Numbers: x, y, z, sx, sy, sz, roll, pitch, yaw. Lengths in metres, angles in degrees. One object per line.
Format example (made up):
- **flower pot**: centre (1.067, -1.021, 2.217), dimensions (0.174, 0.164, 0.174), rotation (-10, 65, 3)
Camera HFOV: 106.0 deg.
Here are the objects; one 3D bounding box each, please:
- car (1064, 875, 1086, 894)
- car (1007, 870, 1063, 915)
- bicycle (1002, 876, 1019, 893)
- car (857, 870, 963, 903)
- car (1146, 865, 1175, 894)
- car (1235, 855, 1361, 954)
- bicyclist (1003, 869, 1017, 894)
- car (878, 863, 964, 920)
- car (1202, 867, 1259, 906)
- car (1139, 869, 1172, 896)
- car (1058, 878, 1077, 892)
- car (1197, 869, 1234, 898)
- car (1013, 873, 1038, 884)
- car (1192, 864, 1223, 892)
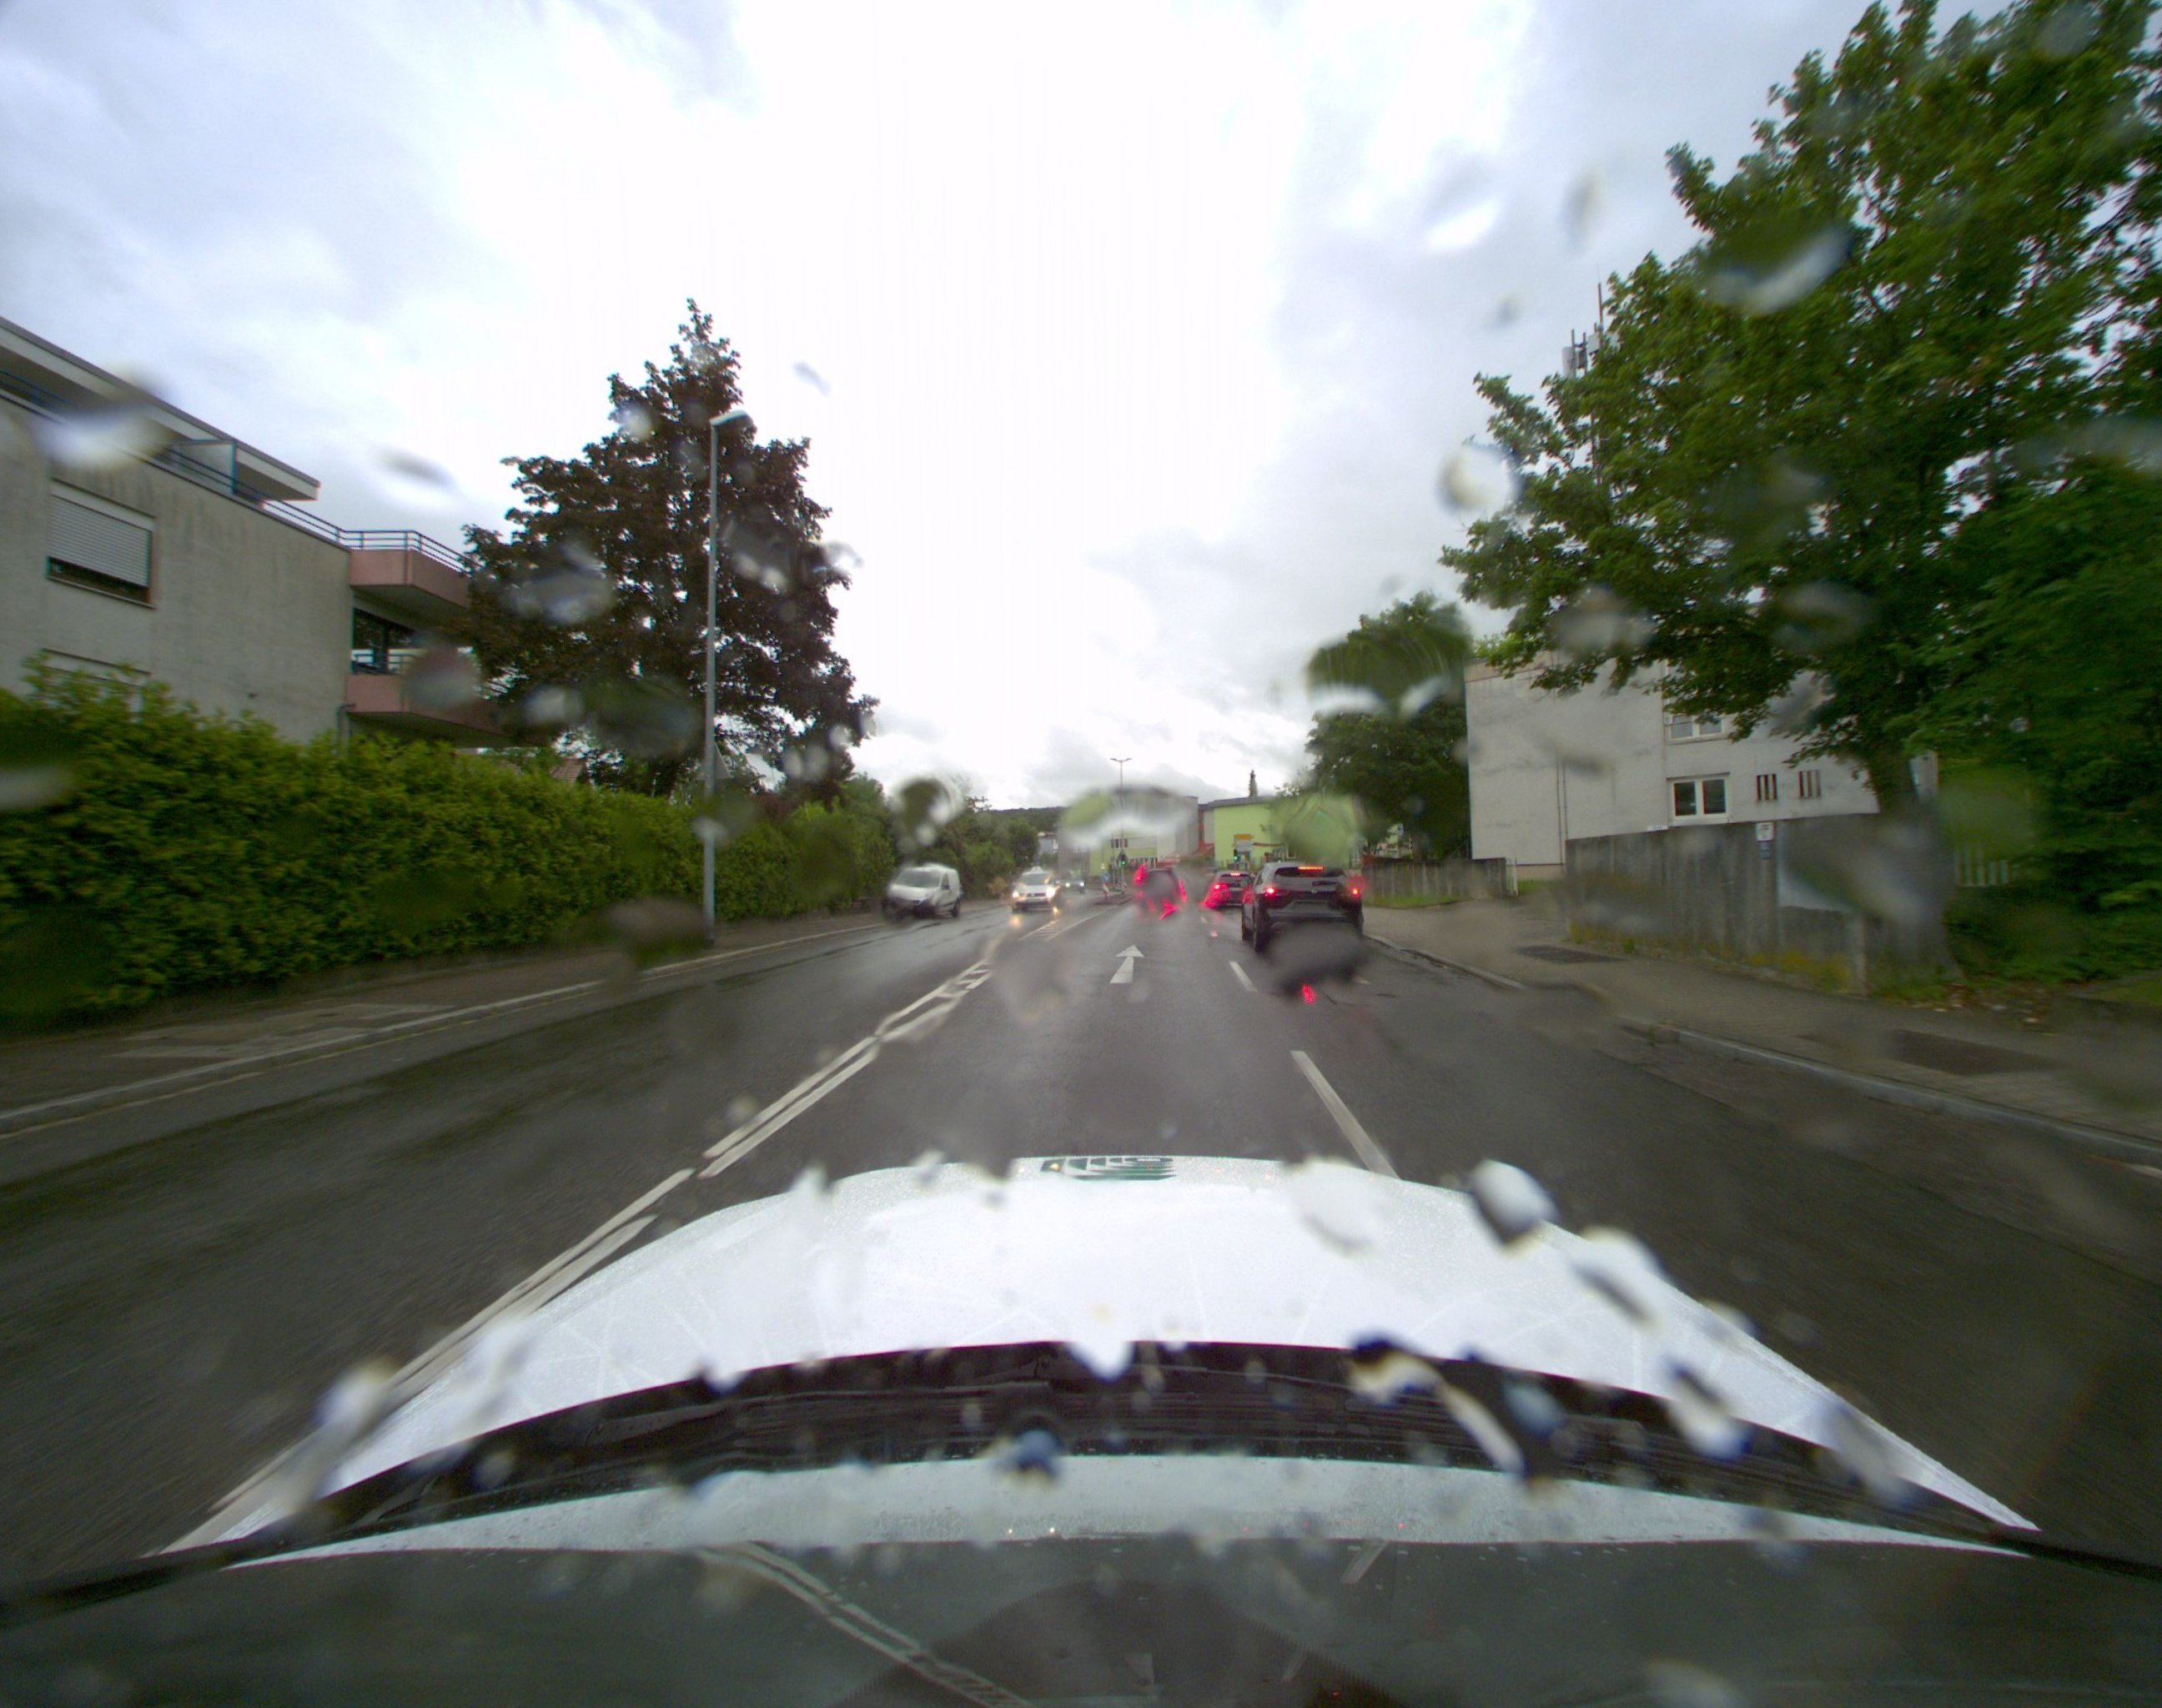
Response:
- **car**: centre (-0.595, 3.043, 82.410), dimensions (2.034, 1.716, 4.480), rotation (-2, -1, 0)
- **car**: centre (-1.749, 1.466, 32.327), dimensions (1.627, 1.580, 4.061), rotation (-4, -1, 4)
- **bicycle**: centre (-4.581, 1.985, 53.101), dimensions (0.743, 1.086, 1.991), rotation (0, -2, 5)
- **car**: centre (-7.814, 1.489, 37.481), dimensions (4.469, 1.362, 1.805), rotation (1, 0, -1)
- **car**: centre (5.293, 1.681, 54.582), dimensions (1.710, 1.844, 4.090), rotation (0, -1, 3)
- **car**: centre (3.971, 0.829, 15.573), dimensions (1.780, 1.603, 4.262), rotation (0, 0, 7)
- **bicyclist**: centre (-4.597, 1.786, 53.006), dimensions (0.761, 1.612, 0.869), rotation (0, -2, 4)
- **car**: centre (-5.312, 1.206, 27.561), dimensions (1.692, 1.708, 3.985), rotation (2, -1, 6)
- **car**: centre (6.082, 1.296, 33.591), dimensions (1.896, 1.459, 4.785), rotation (-1, -2, 6)
- **car**: centre (4.220, 1.590, 46.510), dimensions (1.676, 1.506, 3.775), rotation (0, -1, 2)
- **car**: centre (-1.626, 3.651, 95.792), dimensions (1.990, 1.574, 3.992), rotation (0, -2, -5)
- **car**: centre (6.946, 1.504, 42.290), dimensions (1.697, 1.427, 4.517), rotation (-2, -2, 7)
- **car**: centre (-10.360, 4.538, 151.959), dimensions (4.397, 1.772, 1.992), rotation (-3, -2, -11)
- **car**: centre (8.561, 1.591, 55.320), dimensions (1.774, 1.734, 4.092), rotation (1, 0, 5)
